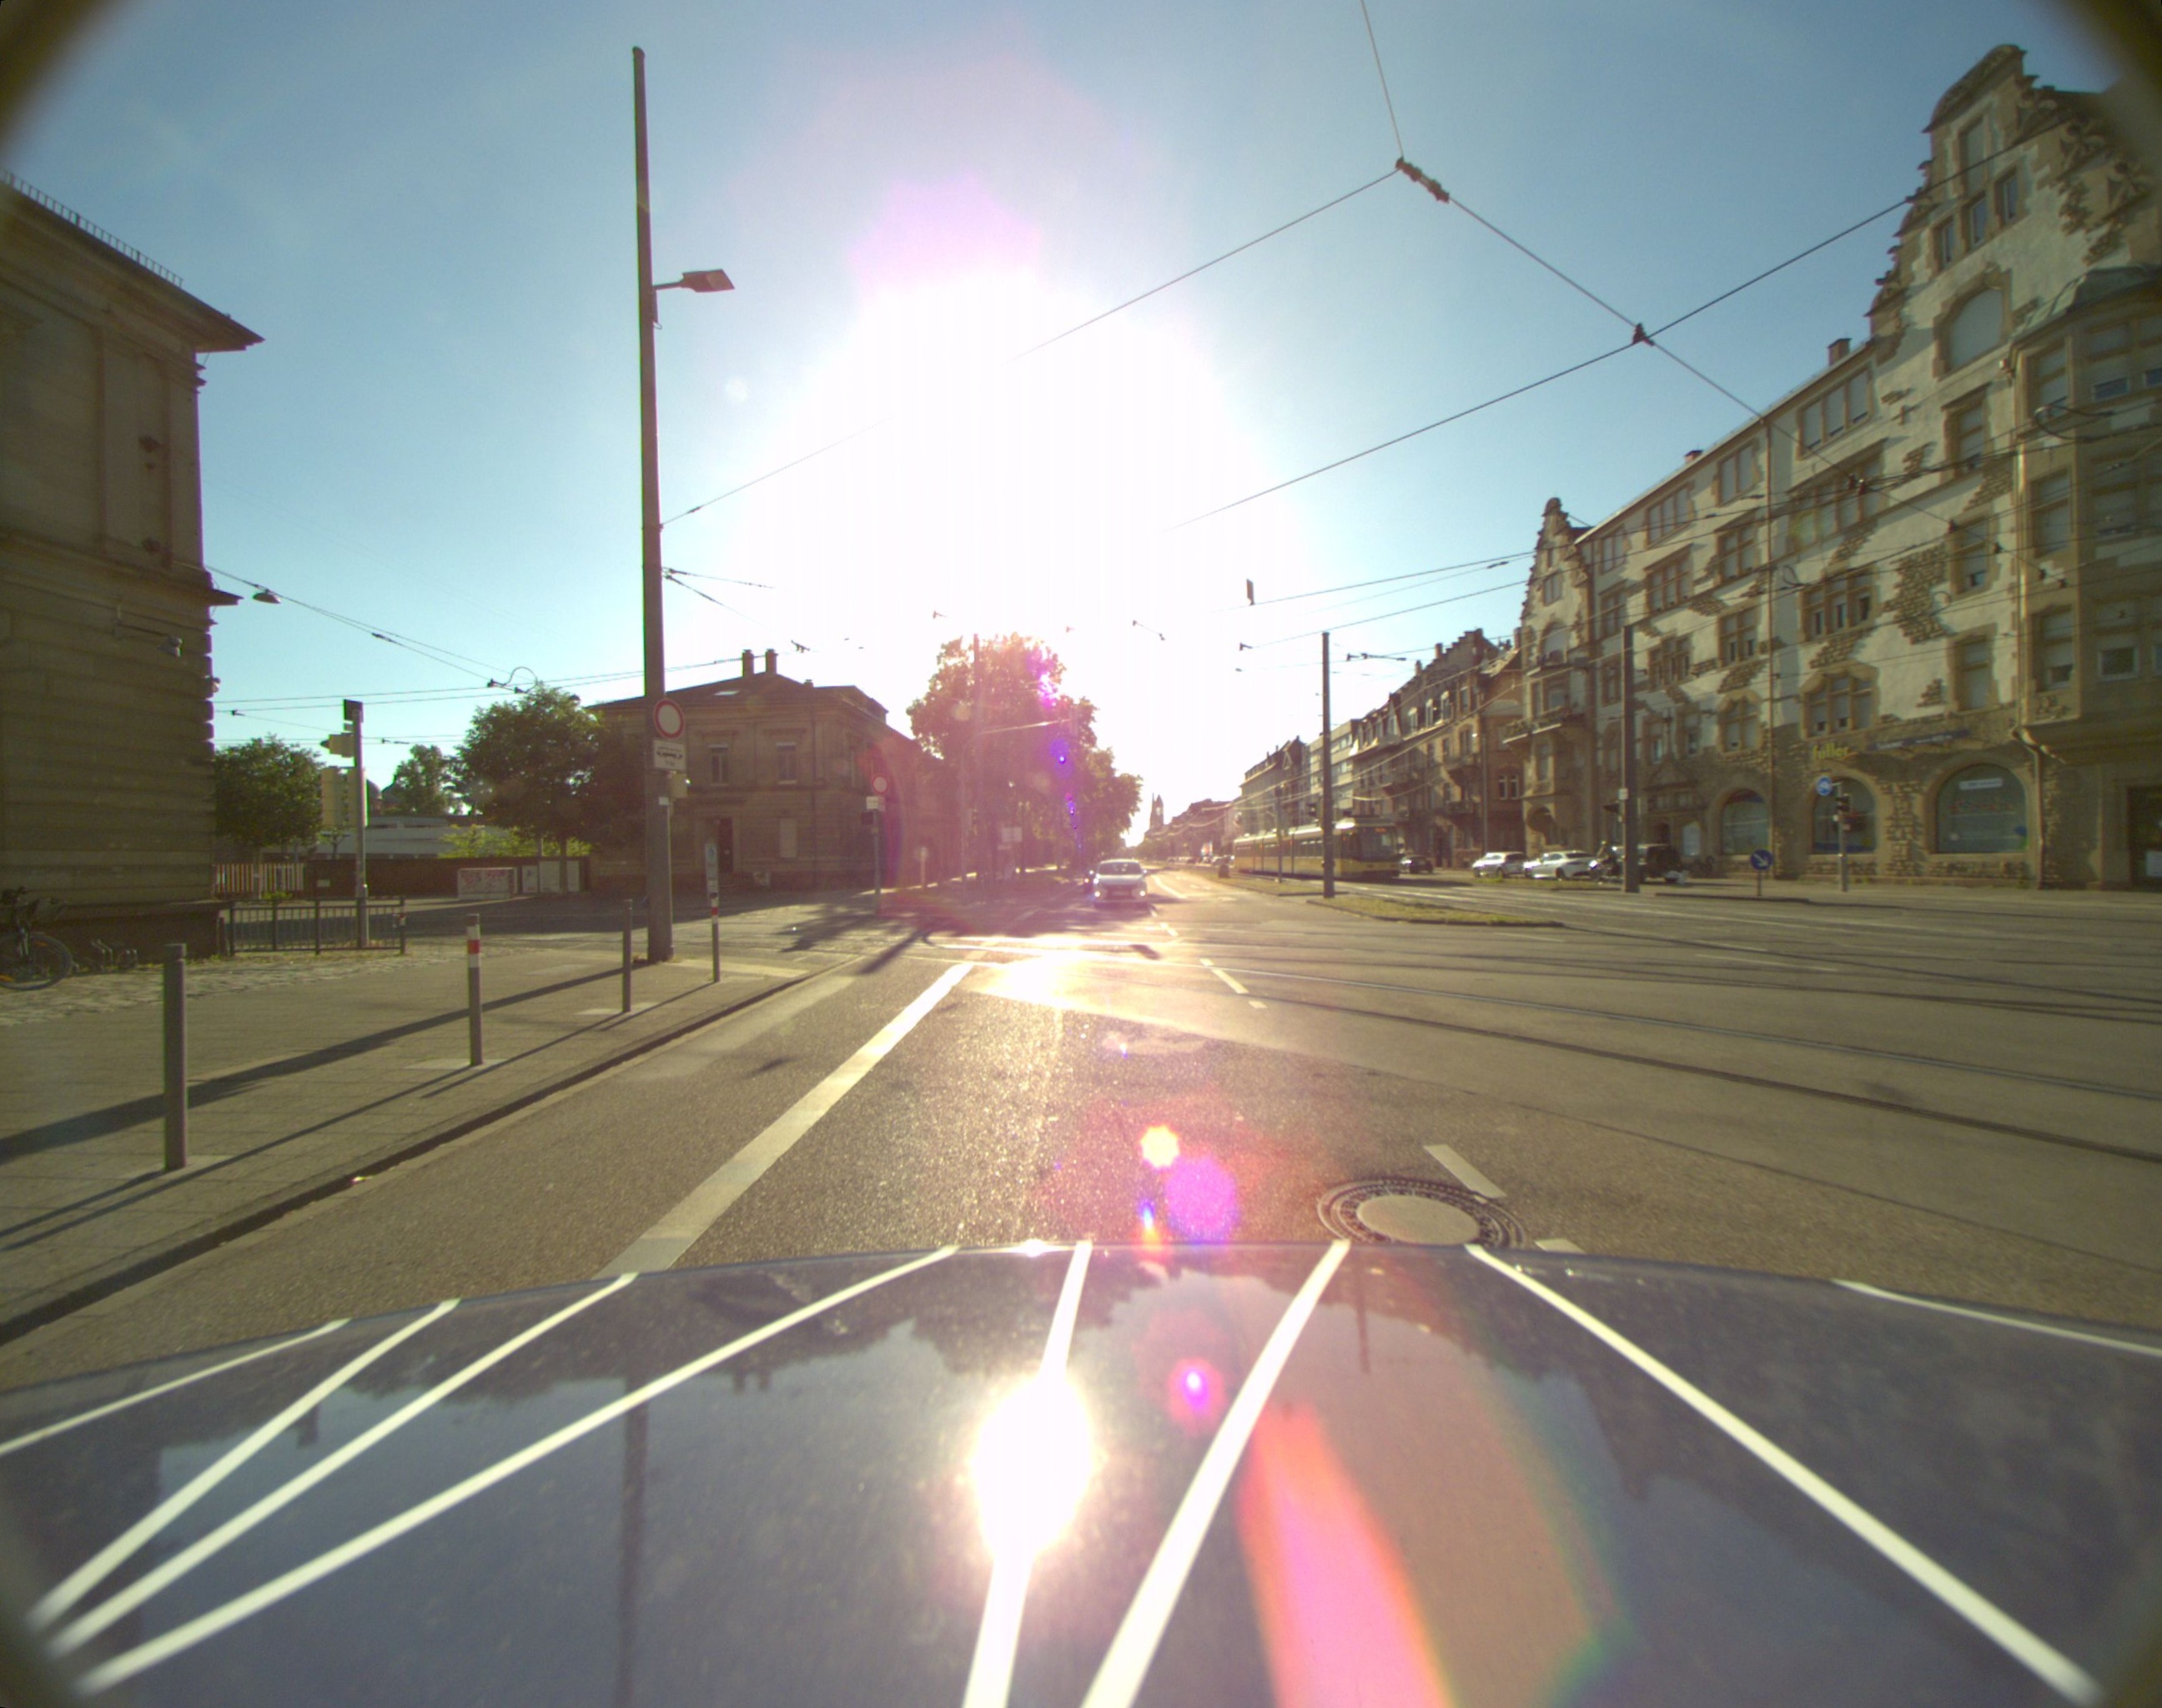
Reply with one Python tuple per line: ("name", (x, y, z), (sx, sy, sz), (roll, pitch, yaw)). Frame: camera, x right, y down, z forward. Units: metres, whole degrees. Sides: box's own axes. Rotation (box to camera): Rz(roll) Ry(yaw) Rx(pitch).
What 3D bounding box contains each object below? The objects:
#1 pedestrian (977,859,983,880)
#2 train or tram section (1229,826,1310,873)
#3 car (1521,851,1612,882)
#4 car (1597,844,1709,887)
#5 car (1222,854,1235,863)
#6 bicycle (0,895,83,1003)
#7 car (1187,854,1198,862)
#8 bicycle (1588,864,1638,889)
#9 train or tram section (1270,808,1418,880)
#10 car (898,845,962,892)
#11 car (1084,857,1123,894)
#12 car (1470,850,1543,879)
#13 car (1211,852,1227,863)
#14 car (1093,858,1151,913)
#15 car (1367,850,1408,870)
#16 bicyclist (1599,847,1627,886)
("pedestrian", (-8.019, 1.207, 60.070), (0.364, 1.635, 0.390), (-1, 0, 3))
("train or tram section", (15.790, -0.388, 65.769), (2.781, 3.379, 19.475), (-2, 0, 2))
("car", (24.395, 0.595, 38.399), (1.727, 1.467, 4.432), (-1, 0, 0))
("car", (24.268, 0.463, 32.422), (1.780, 1.660, 4.000), (-1, 0, 0))
("car", (28.645, 0.873, 147.962), (1.780, 1.660, 4.000), (-1, 0, 0))
("bicycle", (-12.943, 1.092, 8.866), (1.650, 1.174, 0.690), (0, 0, 0))
("car", (23.898, 0.843, 162.894), (1.780, 1.660, 4.000), (-1, 0, 0))
("bicycle", (22.198, 0.924, 31.763), (0.607, 0.996, 2.069), (-1, 0, 0))
("train or tram section", (15.049, -0.390, 46.176), (2.781, 3.378, 19.478), (-2, -1, 2))
("car", (-7.087, 0.615, 36.006), (1.833, 2.034, 4.001), (-2, 1, 6))
("car", (1.069, 0.956, 35.084), (1.648, 1.555, 3.666), (-2, 0, 2))
("car", (24.430, 0.607, 43.802), (1.741, 1.516, 3.999), (-3, 0, -3))
("car", (21.765, 0.528, 119.670), (1.780, 1.660, 4.000), (-1, 0, 0))
("car", (1.284, 0.946, 24.332), (1.648, 1.555, 3.666), (-2, 0, 2))
("car", (24.530, 0.476, 60.910), (1.741, 1.516, 4.001), (-3, 0, 2))
("bicyclist", (22.202, 0.514, 31.720), (0.683, 1.609, 0.630), (-1, 0, -1))
